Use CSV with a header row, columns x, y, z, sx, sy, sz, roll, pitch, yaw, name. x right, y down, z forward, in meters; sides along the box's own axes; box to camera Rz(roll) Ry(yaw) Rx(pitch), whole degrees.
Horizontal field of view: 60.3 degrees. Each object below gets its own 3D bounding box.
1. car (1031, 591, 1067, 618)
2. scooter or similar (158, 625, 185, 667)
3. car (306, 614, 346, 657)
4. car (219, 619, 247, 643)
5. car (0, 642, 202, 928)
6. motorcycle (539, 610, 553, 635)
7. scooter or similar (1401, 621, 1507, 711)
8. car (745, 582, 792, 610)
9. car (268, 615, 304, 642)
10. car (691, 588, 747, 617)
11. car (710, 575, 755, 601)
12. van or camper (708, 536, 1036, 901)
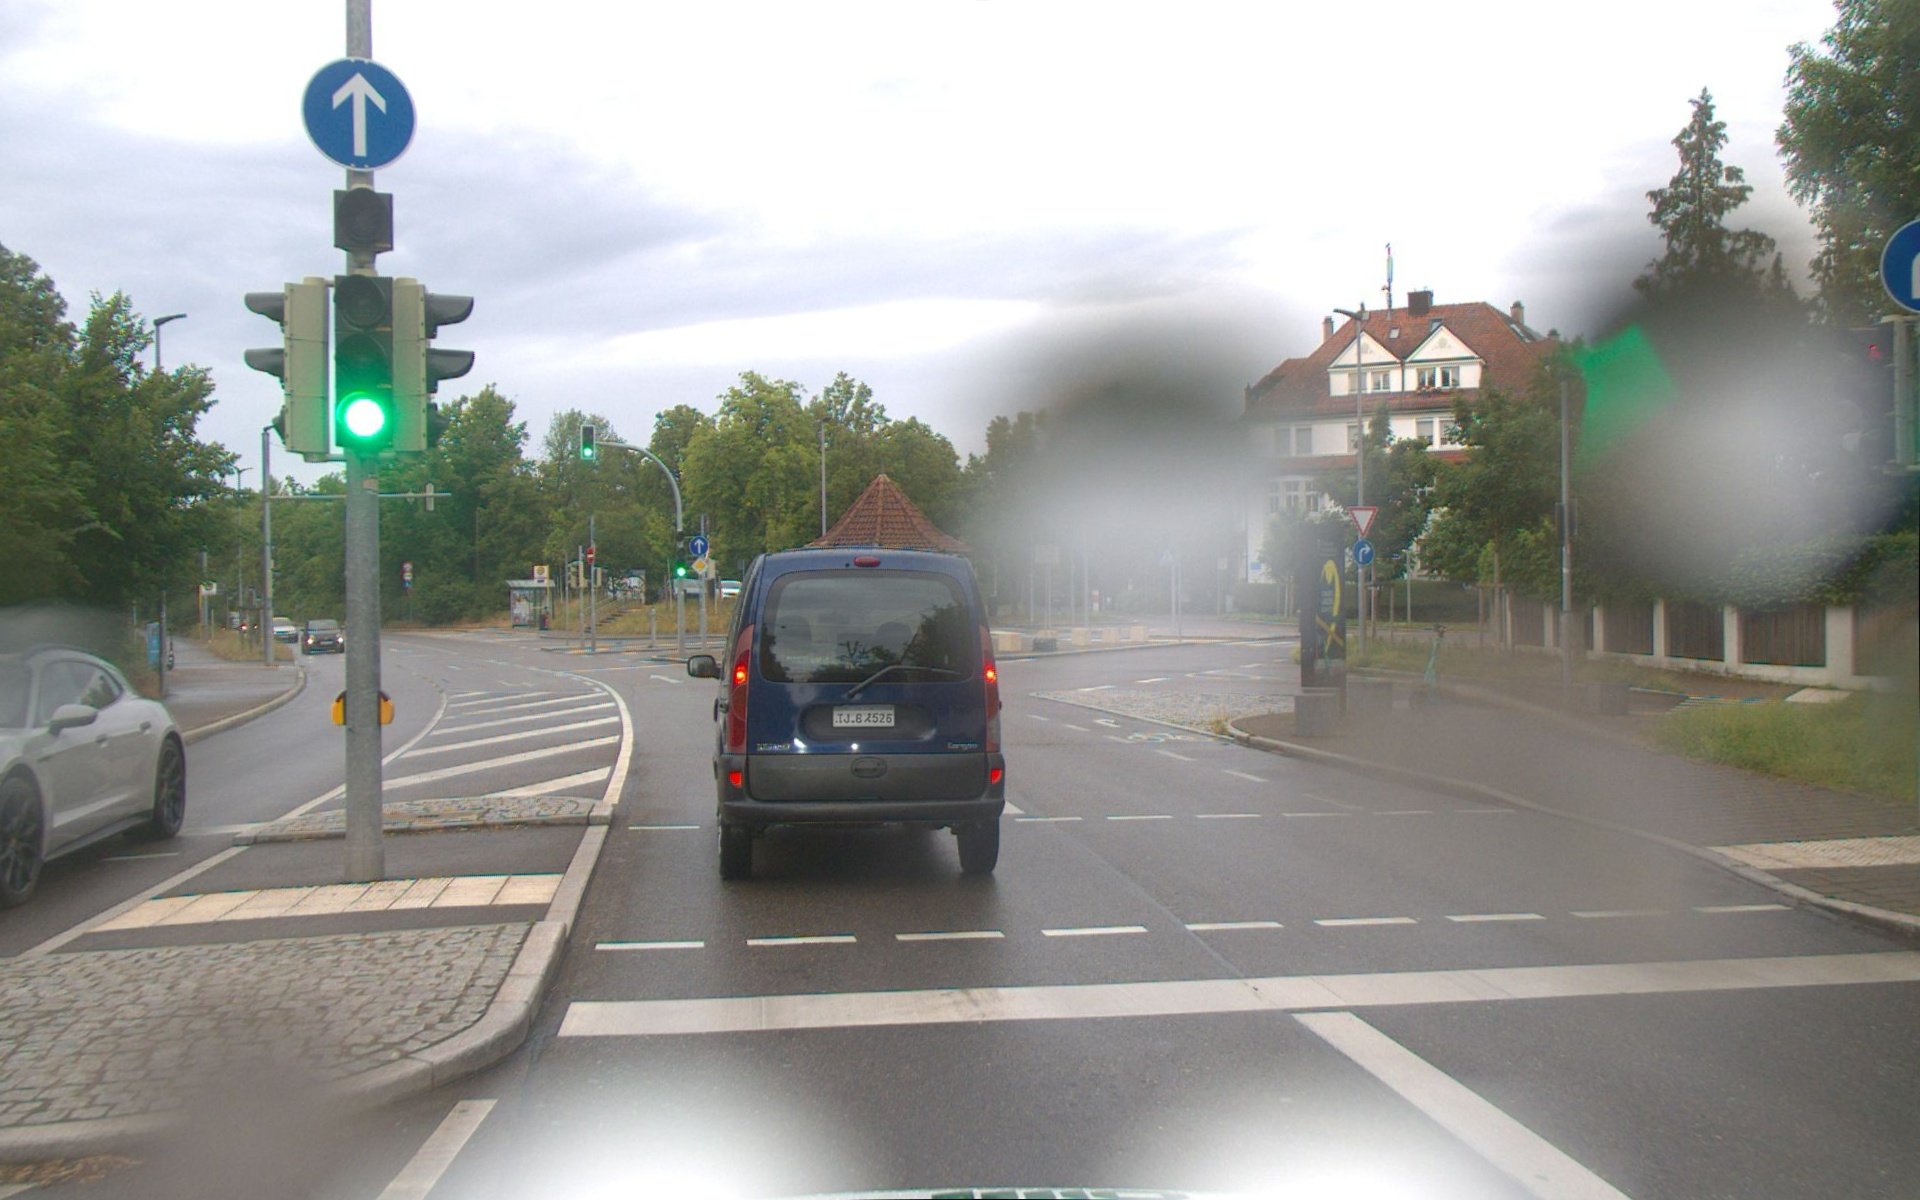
x,y,z,sx,sy,sz,roll,pitch,yaw,name
6.718,0.343,125.611,1.956,2.049,3.993,-1,0,-8,car
-24.085,1.383,50.535,0.509,1.233,1.461,-1,0,-18,scooter or similar
-27.870,1.532,72.677,1.554,1.761,3.750,-3,0,-22,car
-53.567,2.246,121.871,1.766,1.608,4.526,-2,1,-24,car
-6.232,1.042,10.010,1.906,1.400,4.591,-2,0,-11,car
-22.480,1.223,89.815,0.578,1.311,1.533,-2,0,-11,motorcycle
6.944,0.925,23.261,1.323,1.228,0.523,1,-1,-10,scooter or similar
-11.011,-0.206,94.892,1.858,1.506,4.044,0,-1,-20,car
-37.879,1.565,92.955,1.718,1.375,4.178,-3,1,-24,car
-13.293,0.162,91.127,1.968,1.506,4.251,1,-1,-25,car
-14.479,-0.733,104.970,1.859,1.506,4.040,-1,-1,-22,car
-0.746,0.612,10.601,1.681,1.858,3.992,-1,0,-9,van or camper
